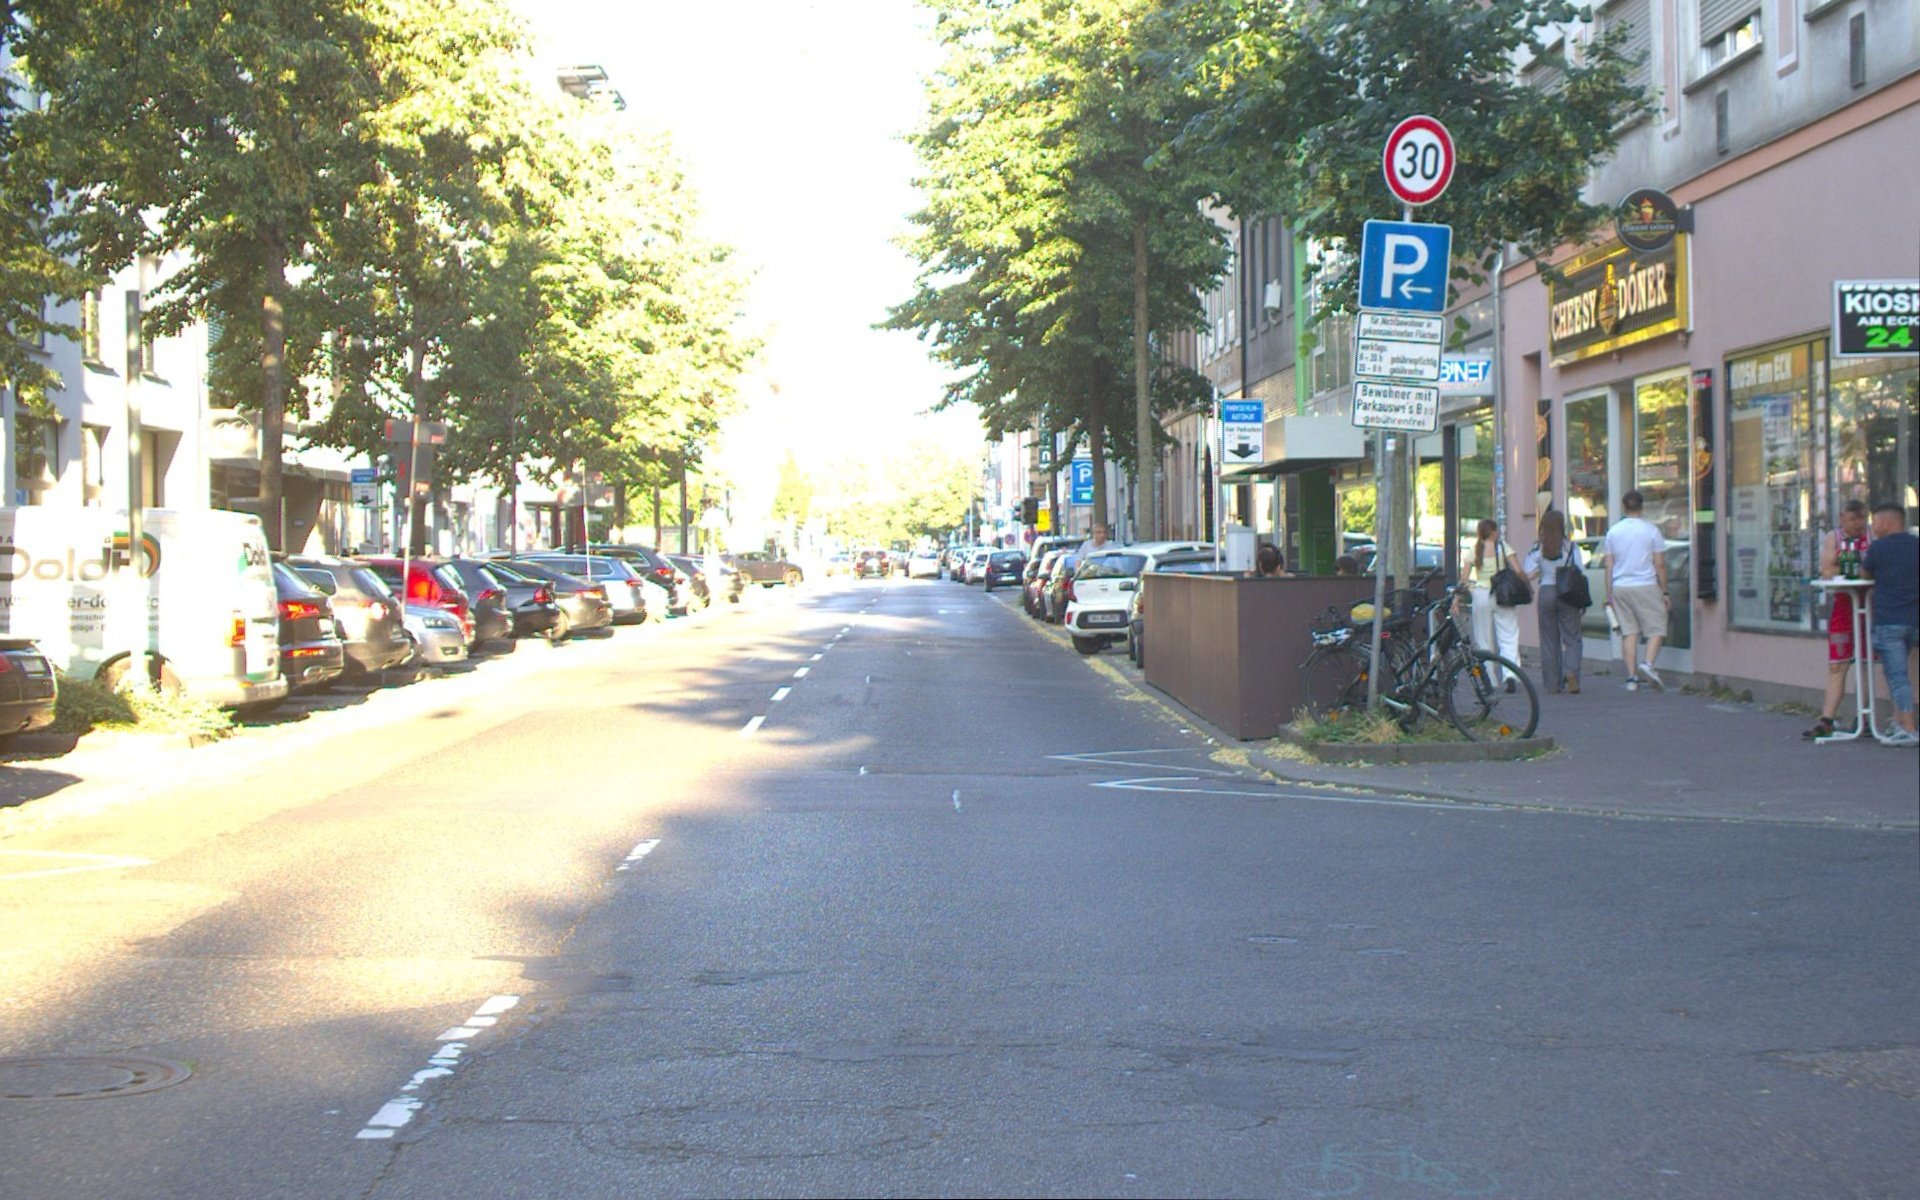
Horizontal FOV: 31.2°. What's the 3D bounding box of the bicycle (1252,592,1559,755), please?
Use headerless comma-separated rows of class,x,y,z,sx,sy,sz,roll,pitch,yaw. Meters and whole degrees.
bicycle,3.042,0.488,23.542,1.957,1.070,0.704,0,1,31

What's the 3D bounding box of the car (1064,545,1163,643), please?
car,2.513,-0.101,56.798,1.513,1.572,3.218,0,0,1

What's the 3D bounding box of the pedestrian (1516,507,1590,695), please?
pedestrian,5.364,0.008,31.134,0.631,1.674,0.891,0,1,9

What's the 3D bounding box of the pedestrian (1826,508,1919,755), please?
pedestrian,6.114,0.197,22.711,0.567,1.578,0.663,-2,2,0

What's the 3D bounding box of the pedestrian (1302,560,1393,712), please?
pedestrian,3.559,0.324,31.618,0.726,1.374,0.781,-1,1,0

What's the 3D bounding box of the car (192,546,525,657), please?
car,-8.583,0.010,49.319,4.442,1.562,1.919,0,0,0

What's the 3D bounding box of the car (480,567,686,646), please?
car,-8.513,0.142,77.931,4.442,1.753,1.919,0,0,0

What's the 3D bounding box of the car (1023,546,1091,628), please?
car,2.242,-0.309,80.121,1.513,1.858,4.235,0,0,1

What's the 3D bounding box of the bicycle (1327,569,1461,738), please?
bicycle,3.170,0.368,25.002,0.598,1.174,1.844,0,1,19

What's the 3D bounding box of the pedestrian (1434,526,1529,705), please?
pedestrian,4.811,0.133,31.665,0.797,1.620,0.911,0,1,12

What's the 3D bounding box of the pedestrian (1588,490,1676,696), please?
pedestrian,5.968,-0.063,30.565,0.698,1.798,0.891,0,1,8

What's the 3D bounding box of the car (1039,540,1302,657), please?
car,2.990,-0.040,48.325,1.674,1.583,3.814,0,1,42

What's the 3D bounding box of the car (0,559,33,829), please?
car,-7.720,0.536,19.327,4.546,1.536,1.811,0,0,-1

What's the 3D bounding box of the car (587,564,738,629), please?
car,-9.088,-0.124,105.158,4.442,1.953,1.919,0,0,0

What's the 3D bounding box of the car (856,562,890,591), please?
car,-4.743,-1.298,188.123,1.752,1.535,3.303,-1,0,1

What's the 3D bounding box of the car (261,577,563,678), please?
car,-8.574,0.415,54.034,4.442,1.562,1.919,0,0,0

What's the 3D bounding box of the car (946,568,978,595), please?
car,0.106,-0.889,168.765,1.513,1.294,3.303,0,0,1

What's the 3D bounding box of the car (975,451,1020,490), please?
car,1.262,-4.382,116.505,1.513,1.197,3.303,0,0,1

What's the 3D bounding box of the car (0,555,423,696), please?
car,-8.217,0.266,37.458,4.442,1.501,1.844,0,0,0

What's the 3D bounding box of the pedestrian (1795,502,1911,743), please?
pedestrian,6.093,0.142,23.475,0.567,1.594,0.663,-2,2,0

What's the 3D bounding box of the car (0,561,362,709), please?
car,-8.463,0.343,35.011,4.442,1.462,1.780,0,0,0

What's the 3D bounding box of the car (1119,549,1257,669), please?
car,2.815,0.094,42.965,1.543,1.428,3.678,0,0,1

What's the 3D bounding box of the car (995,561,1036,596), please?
car,2.054,-0.795,127.814,1.513,1.271,3.303,0,0,1

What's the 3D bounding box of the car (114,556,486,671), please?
car,-8.460,0.169,44.333,4.442,1.453,1.859,0,0,0

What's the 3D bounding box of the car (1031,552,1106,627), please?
car,2.303,-0.228,73.805,1.513,1.556,3.514,0,0,0

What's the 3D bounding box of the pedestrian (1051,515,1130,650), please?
pedestrian,1.870,-0.255,49.388,0.916,1.919,1.018,1,0,-10

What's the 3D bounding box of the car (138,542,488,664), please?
car,-8.819,0.036,47.088,4.442,1.633,1.859,0,0,0

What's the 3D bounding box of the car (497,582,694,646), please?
car,-8.569,0.320,81.052,4.442,1.494,1.919,0,0,0

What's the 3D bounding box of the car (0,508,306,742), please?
car,-8.119,0.201,29.693,4.571,1.955,1.991,0,0,-1

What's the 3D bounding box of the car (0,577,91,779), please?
car,-8.424,0.541,24.703,3.791,1.387,2.043,0,0,3

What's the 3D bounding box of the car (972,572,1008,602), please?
car,1.278,-0.540,146.022,1.513,1.259,3.303,0,0,1

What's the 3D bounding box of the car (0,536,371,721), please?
car,-8.028,0.252,32.461,4.571,1.692,2.060,0,0,0

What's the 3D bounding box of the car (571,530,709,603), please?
car,-10.726,-1.117,115.370,4.442,2.426,1.919,0,0,0

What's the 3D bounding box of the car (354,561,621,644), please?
car,-8.289,0.032,60.556,4.442,1.444,1.919,0,0,0

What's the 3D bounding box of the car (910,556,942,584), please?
car,-1.889,-1.662,191.629,1.721,1.470,3.303,-1,0,1

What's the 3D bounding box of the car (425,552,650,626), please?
car,-8.762,-0.225,71.564,4.442,1.518,1.919,0,0,0

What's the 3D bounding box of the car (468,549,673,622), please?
car,-8.567,-0.320,75.828,4.304,1.592,1.919,0,0,0

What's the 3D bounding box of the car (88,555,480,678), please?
car,-8.215,0.192,42.028,4.442,1.479,1.809,0,0,0

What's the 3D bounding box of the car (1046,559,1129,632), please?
car,2.509,-0.098,68.261,1.513,1.401,3.837,0,0,0
